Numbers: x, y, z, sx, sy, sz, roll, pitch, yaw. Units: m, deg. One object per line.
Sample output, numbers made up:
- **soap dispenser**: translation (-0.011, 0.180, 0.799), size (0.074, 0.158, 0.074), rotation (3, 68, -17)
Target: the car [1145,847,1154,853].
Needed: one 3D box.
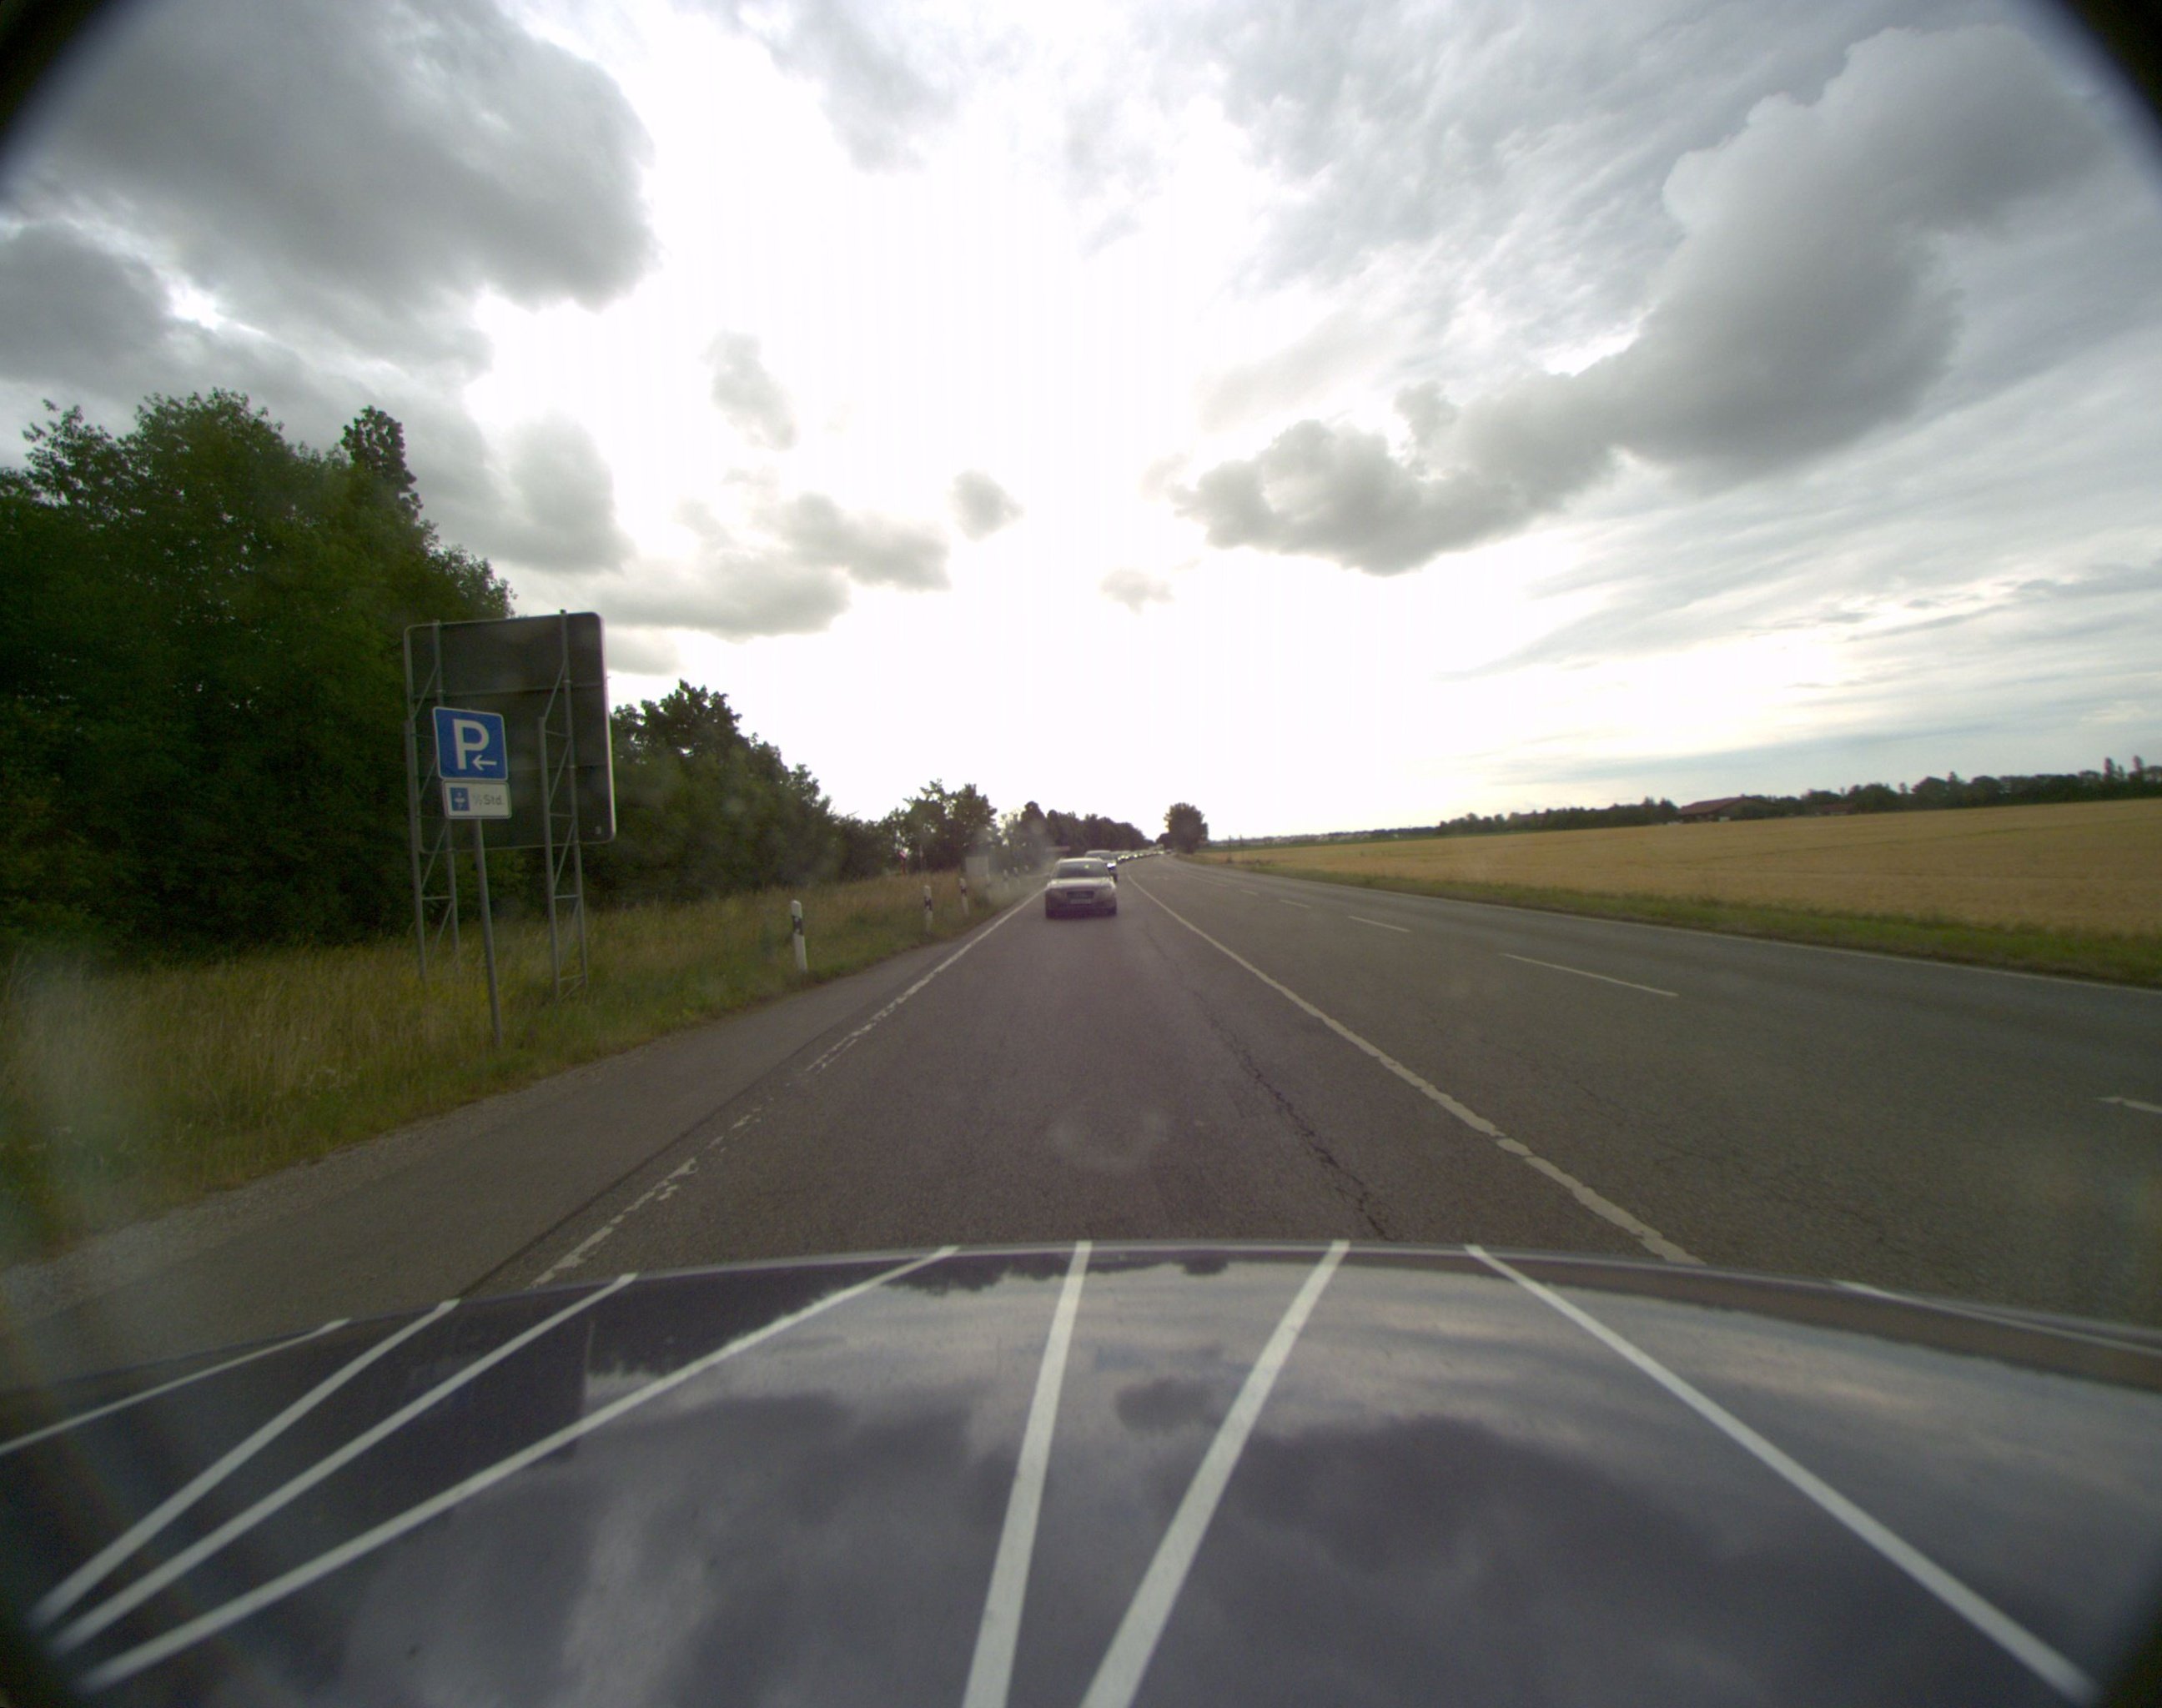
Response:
- **car**: translation (17.362, -1.060, 192.497), size (1.792, 1.573, 4.140), rotation (-2, 0, 11)

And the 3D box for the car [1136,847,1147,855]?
- **car**: translation (13.144, -0.676, 164.565), size (1.792, 1.573, 4.139), rotation (-2, 0, 10)

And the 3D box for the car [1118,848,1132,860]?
- **car**: translation (6.432, -0.021, 110.608), size (1.793, 1.573, 4.188), rotation (-2, 0, 6)

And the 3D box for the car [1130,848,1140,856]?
- **car**: translation (10.767, -0.426, 150.862), size (1.793, 1.573, 4.139), rotation (-2, 0, 7)

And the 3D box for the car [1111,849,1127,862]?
- **car**: translation (4.870, 0.186, 97.901), size (1.793, 1.573, 4.369), rotation (-2, 0, 5)

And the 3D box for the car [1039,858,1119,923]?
- **car**: translation (-0.025, 0.855, 19.924), size (1.794, 1.415, 4.367), rotation (-2, 0, 1)

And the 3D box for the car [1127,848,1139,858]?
- **car**: translation (8.660, -0.187, 127.153), size (1.793, 1.573, 4.188), rotation (-2, 0, 6)

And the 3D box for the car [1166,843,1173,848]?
- **car**: translation (29.832, -2.796, 255.118), size (1.829, 1.402, 4.427), rotation (-2, 1, 13)

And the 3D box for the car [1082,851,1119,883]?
- **car**: translation (1.057, 0.653, 40.883), size (1.793, 1.573, 4.367), rotation (-2, 0, 2)

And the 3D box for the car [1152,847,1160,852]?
- **car**: translation (20.863, -1.248, 211.485), size (1.792, 1.531, 4.140), rotation (-2, 0, 13)

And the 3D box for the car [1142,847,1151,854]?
- **car**: translation (15.628, -0.932, 181.379), size (1.792, 1.573, 4.140), rotation (-2, 0, 11)
